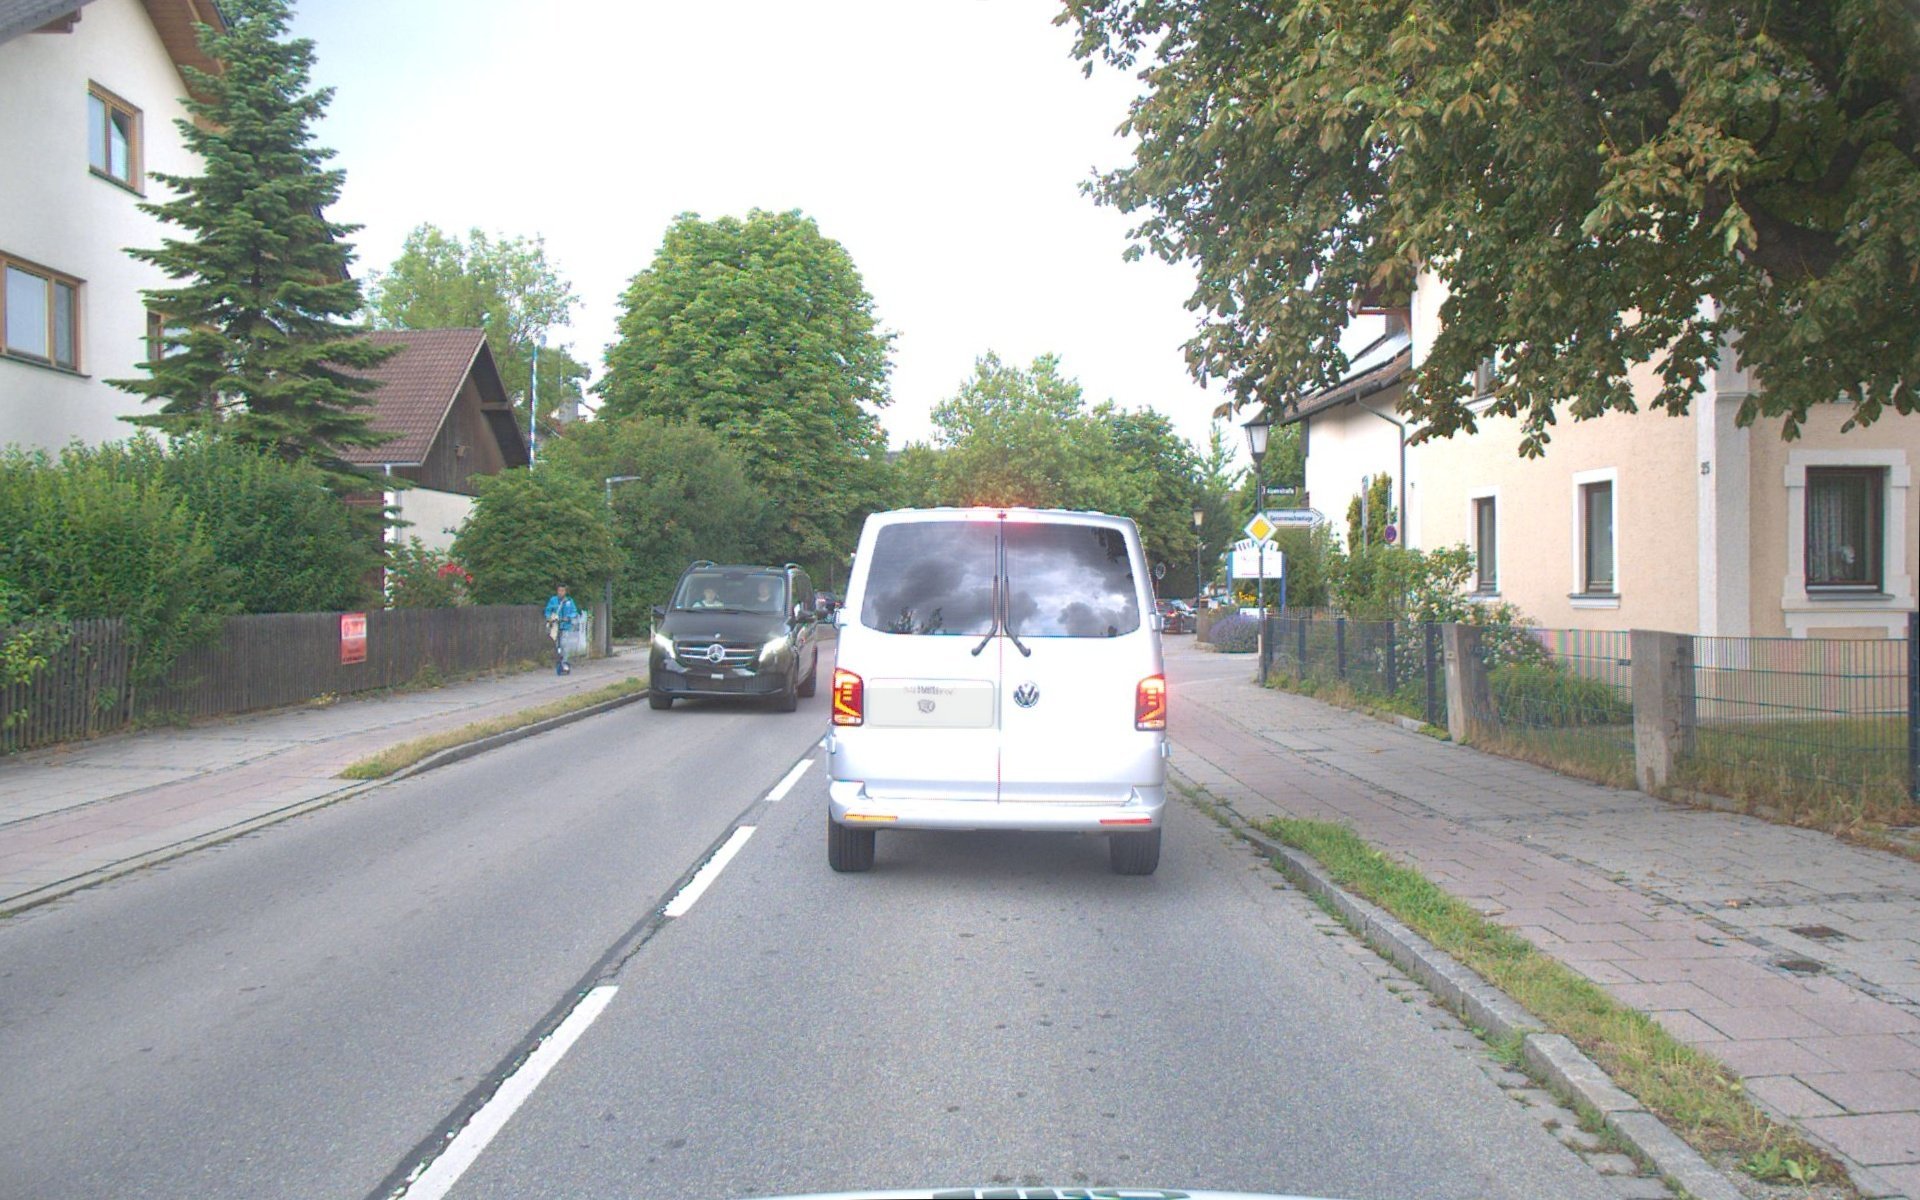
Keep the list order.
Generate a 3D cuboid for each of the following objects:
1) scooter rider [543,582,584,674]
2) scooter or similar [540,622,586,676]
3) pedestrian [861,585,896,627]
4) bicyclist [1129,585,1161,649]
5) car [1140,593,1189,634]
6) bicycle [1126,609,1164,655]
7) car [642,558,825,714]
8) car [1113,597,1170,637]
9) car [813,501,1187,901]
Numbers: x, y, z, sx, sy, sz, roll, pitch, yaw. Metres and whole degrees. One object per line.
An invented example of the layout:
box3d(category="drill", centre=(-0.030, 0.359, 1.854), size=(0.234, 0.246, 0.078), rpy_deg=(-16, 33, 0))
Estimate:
box3d(category="scooter rider", centre=(-6.598, 0.459, 27.540), size=(0.492, 1.515, 0.716), rpy_deg=(0, 0, -1))
box3d(category="scooter or similar", centre=(-6.599, 0.802, 27.540), size=(0.511, 0.865, 1.061), rpy_deg=(0, 0, 0))
box3d(category="pedestrian", centre=(-3.575, 0.255, 72.541), size=(1.300, 1.834, 1.062), rpy_deg=(0, 0, -22))
box3d(category="bicyclist", centre=(4.813, 0.437, 43.055), size=(0.721, 1.661, 0.890), rpy_deg=(0, 0, -2))
box3d(category="car", centre=(9.155, 0.565, 73.871), size=(1.841, 1.779, 4.084), rpy_deg=(0, 0, 12))
box3d(category="bicycle", centre=(4.812, 0.811, 43.041), size=(0.749, 1.163, 1.844), rpy_deg=(0, 0, -1))
box3d(category="car", centre=(-2.999, 0.444, 22.938), size=(1.925, 1.885, 4.946), rpy_deg=(1, 0, -1))
box3d(category="car", centre=(7.356, 0.647, 66.826), size=(1.841, 1.562, 3.924), rpy_deg=(0, 0, 13))
box3d(category="car", centre=(0.208, 0.493, 10.130), size=(1.842, 1.974, 3.920), rpy_deg=(0, 0, 0))
